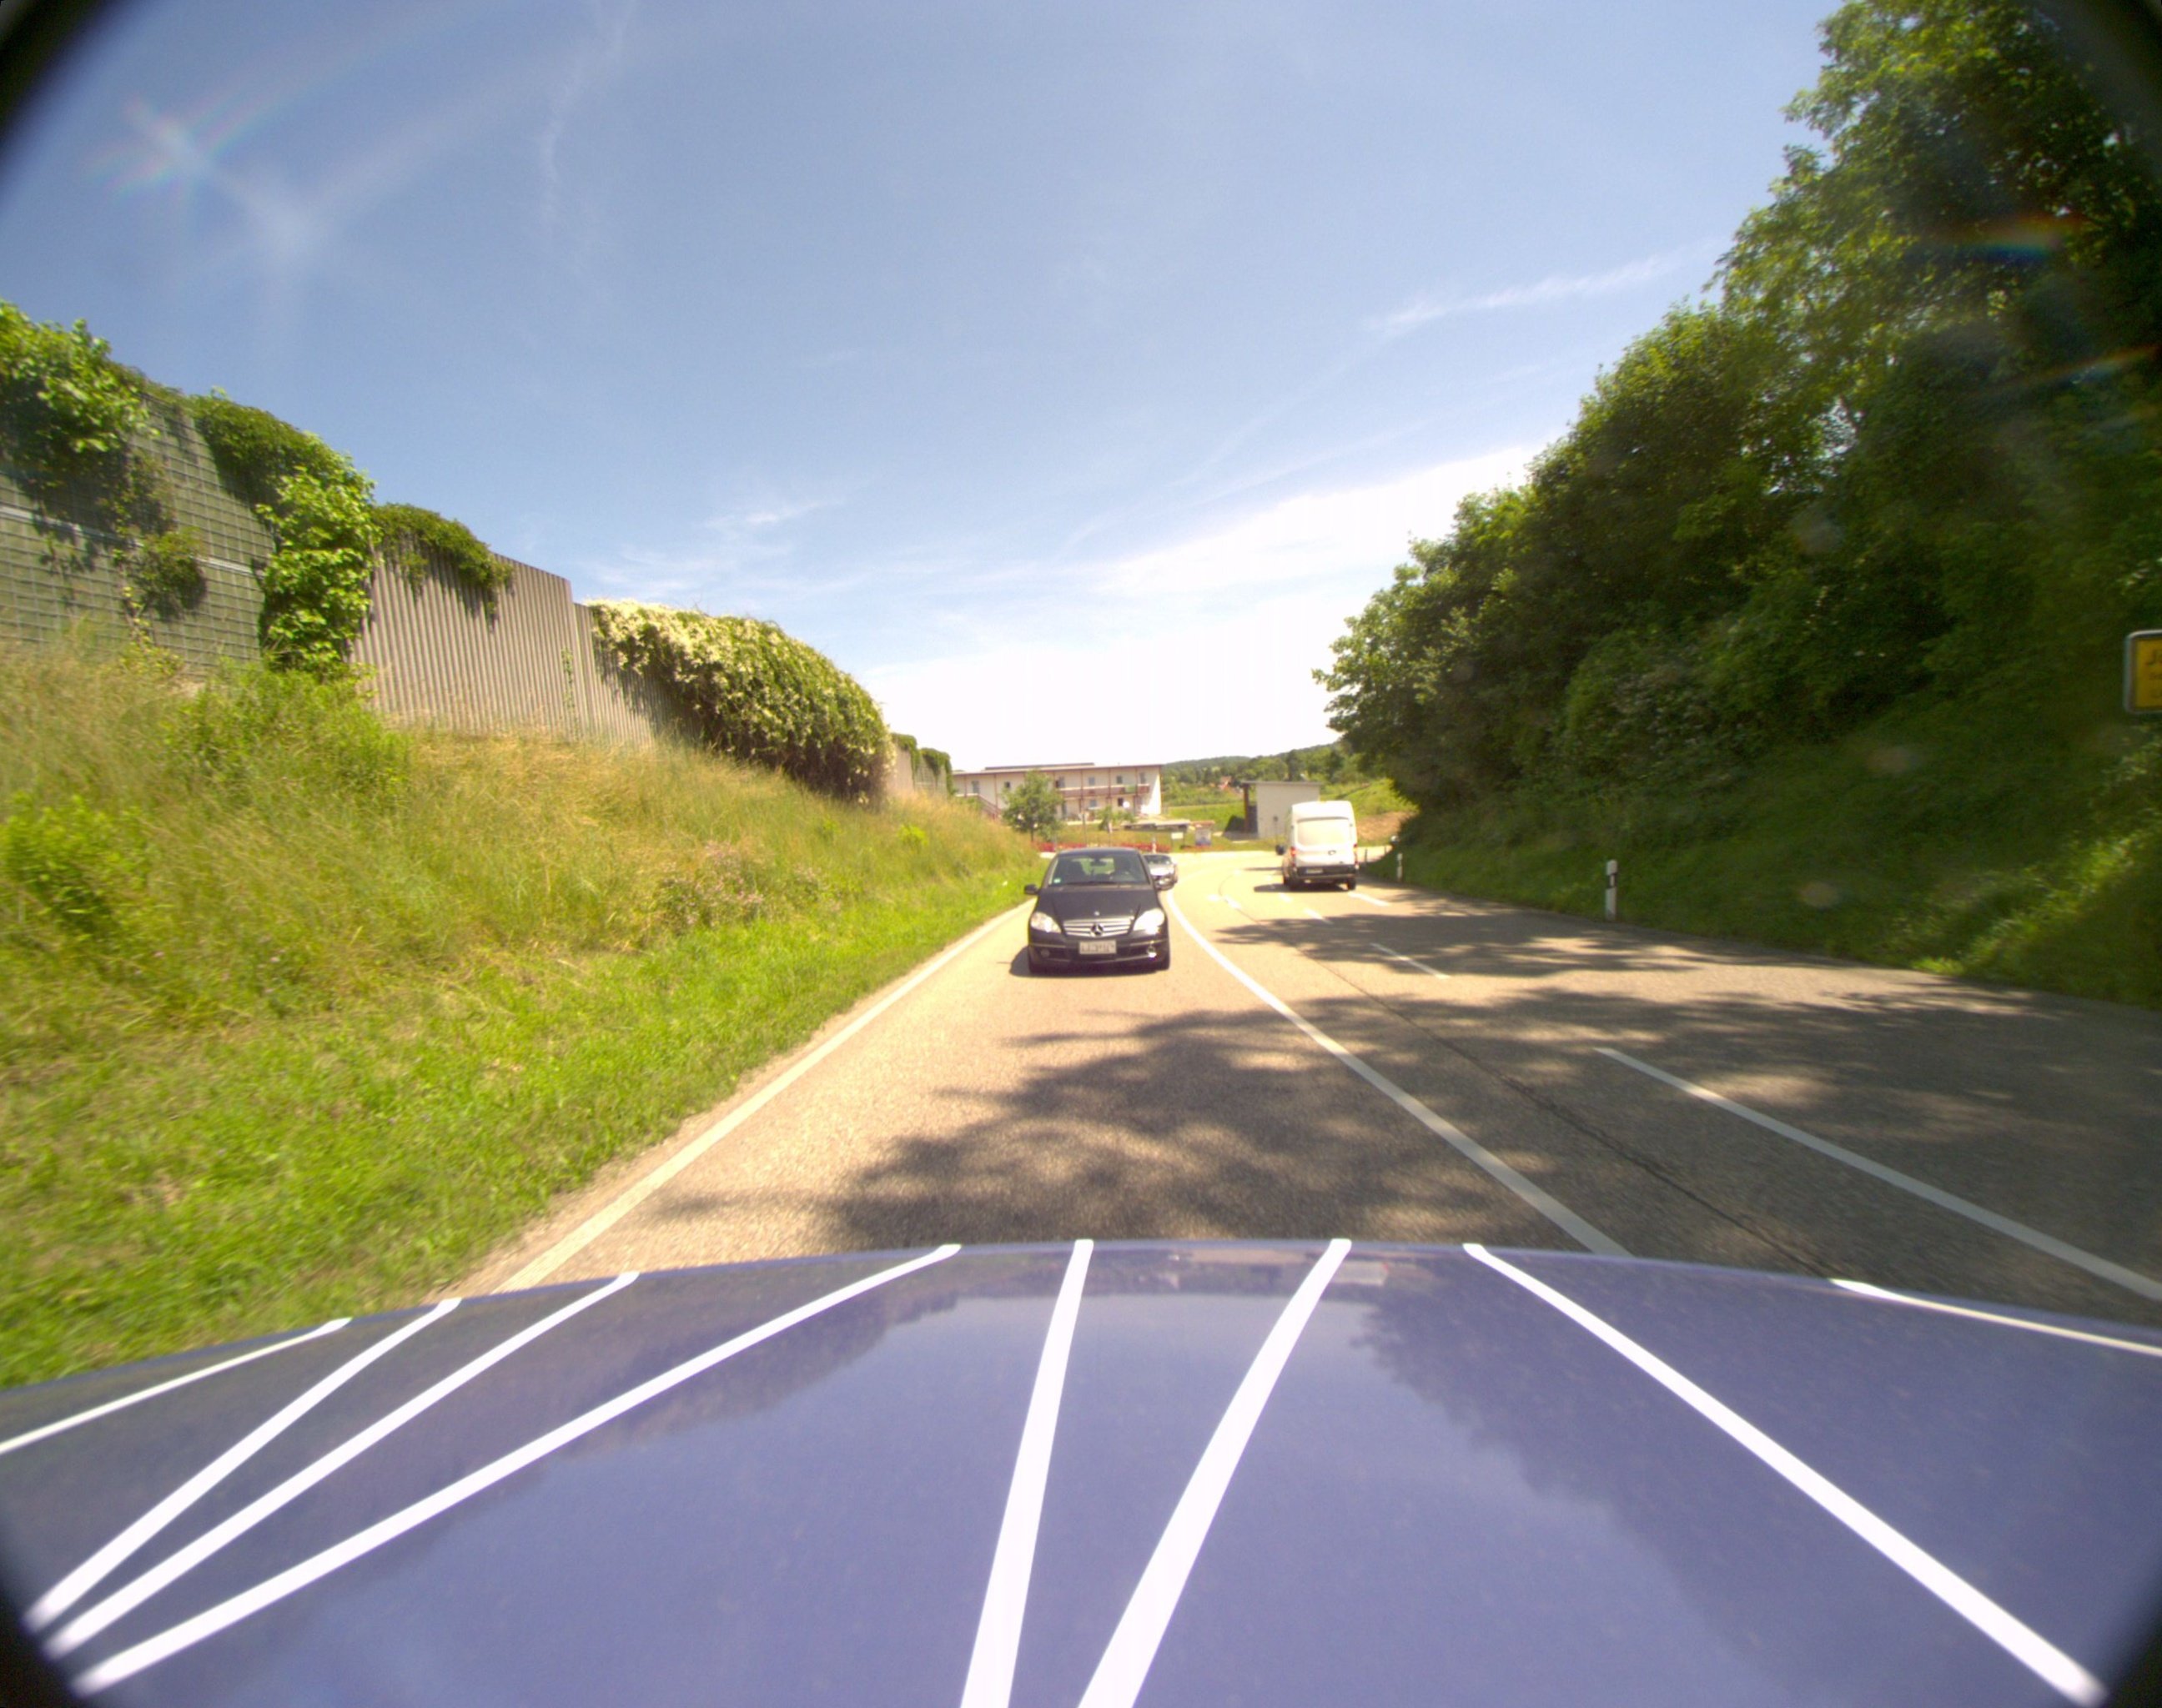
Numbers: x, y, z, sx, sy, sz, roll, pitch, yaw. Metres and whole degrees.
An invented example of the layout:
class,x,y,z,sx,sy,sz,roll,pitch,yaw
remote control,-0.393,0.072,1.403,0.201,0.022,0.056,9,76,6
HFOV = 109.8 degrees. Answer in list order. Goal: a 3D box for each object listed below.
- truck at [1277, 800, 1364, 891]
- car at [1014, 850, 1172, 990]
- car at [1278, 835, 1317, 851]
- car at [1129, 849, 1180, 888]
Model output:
class,x,y,z,sx,sy,sz,roll,pitch,yaw
truck,7.952,-0.284,25.770,2.056,2.671,5.985,-2,1,11
car,0.162,0.766,10.718,1.795,1.570,3.799,-2,0,1
car,18.603,-0.964,65.314,1.751,1.281,4.153,1,2,39
car,2.824,0.500,28.720,1.646,1.315,3.440,-1,1,10
